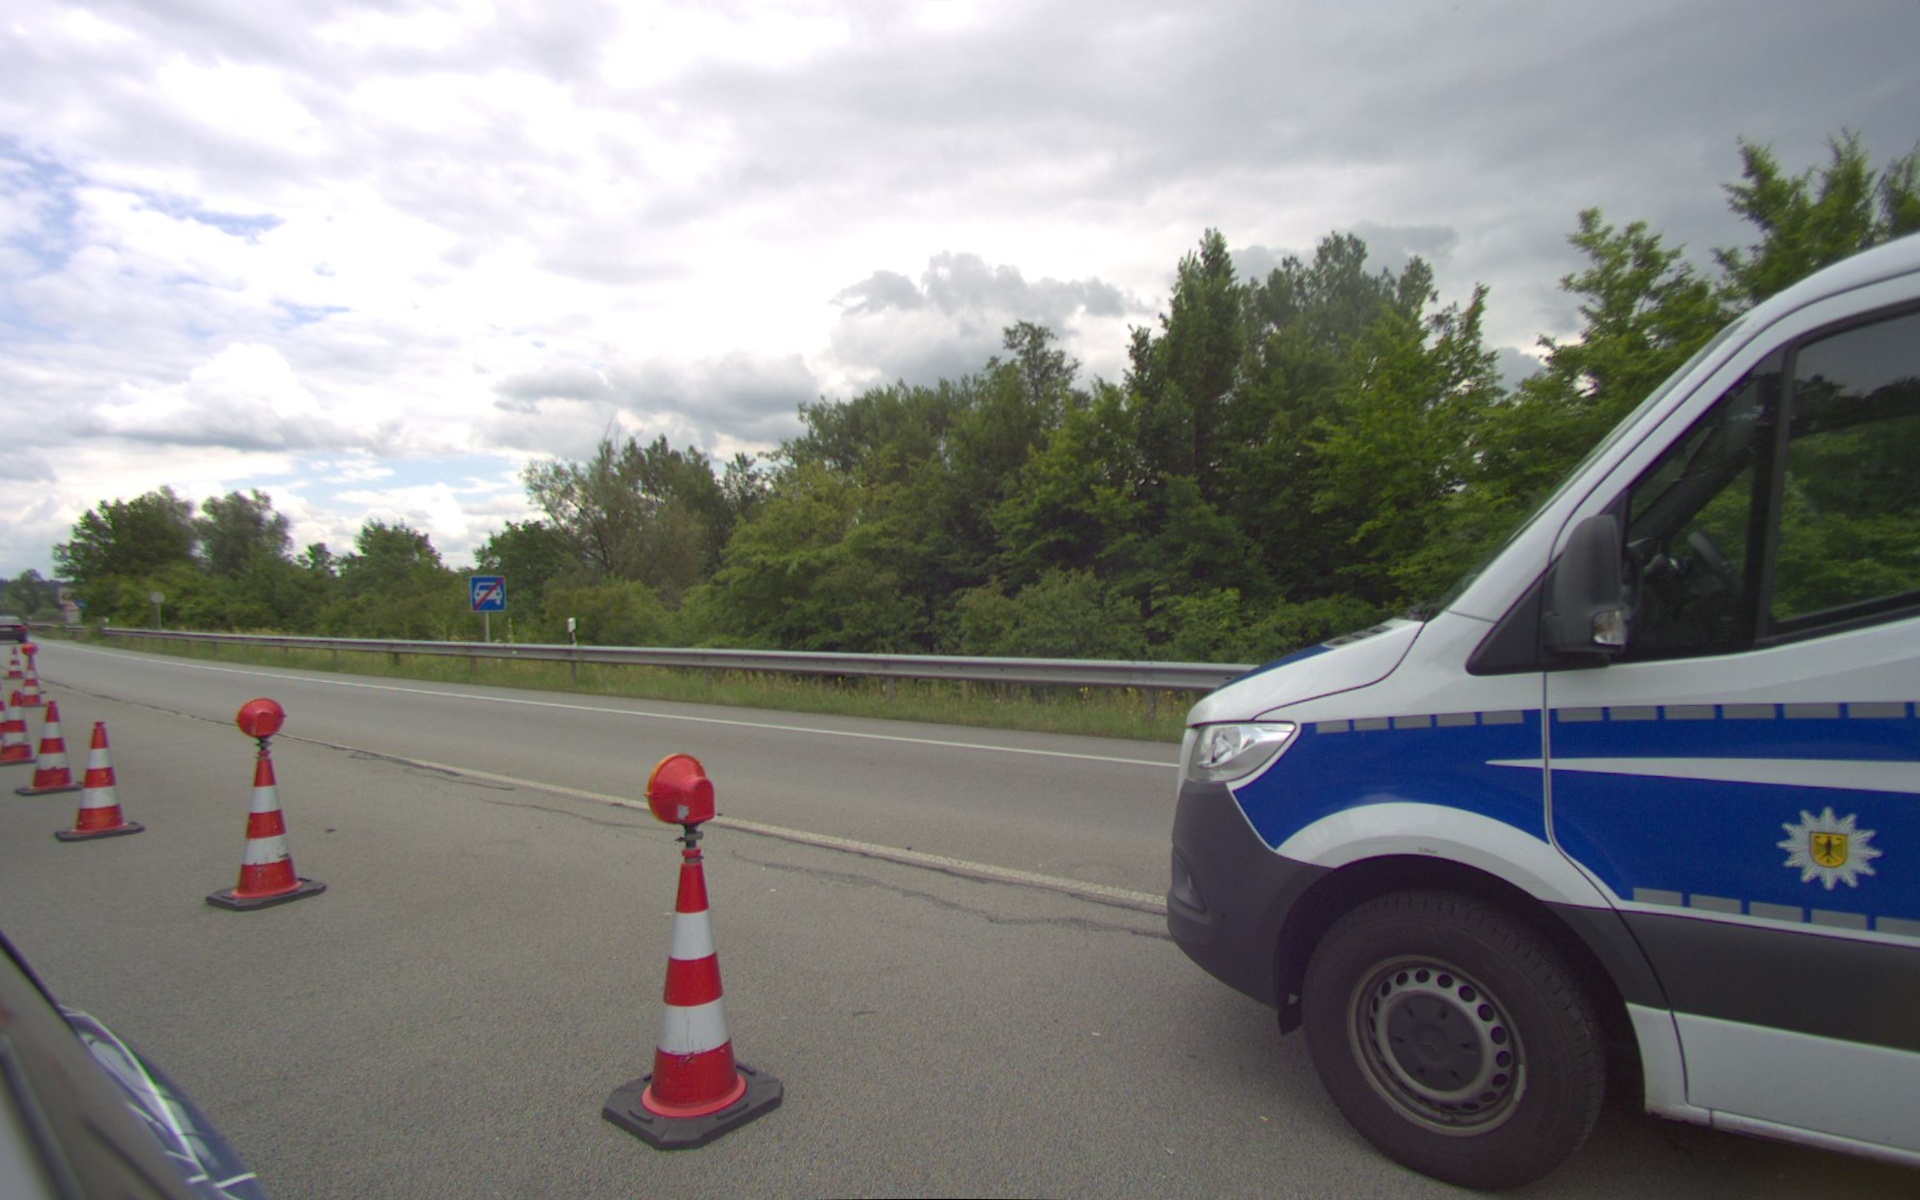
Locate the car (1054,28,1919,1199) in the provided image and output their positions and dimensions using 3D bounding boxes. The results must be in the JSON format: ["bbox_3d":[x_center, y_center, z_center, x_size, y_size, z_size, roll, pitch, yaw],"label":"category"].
[{"bbox_3d":[2.983,0.146,2.273,5.272,2.482,2.010,-1,-1,38],"label":"car"}]

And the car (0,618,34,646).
[{"bbox_3d":[-50.431,1.688,53.663,4.338,1.447,1.690,-1,-1,44],"label":"car"}]
